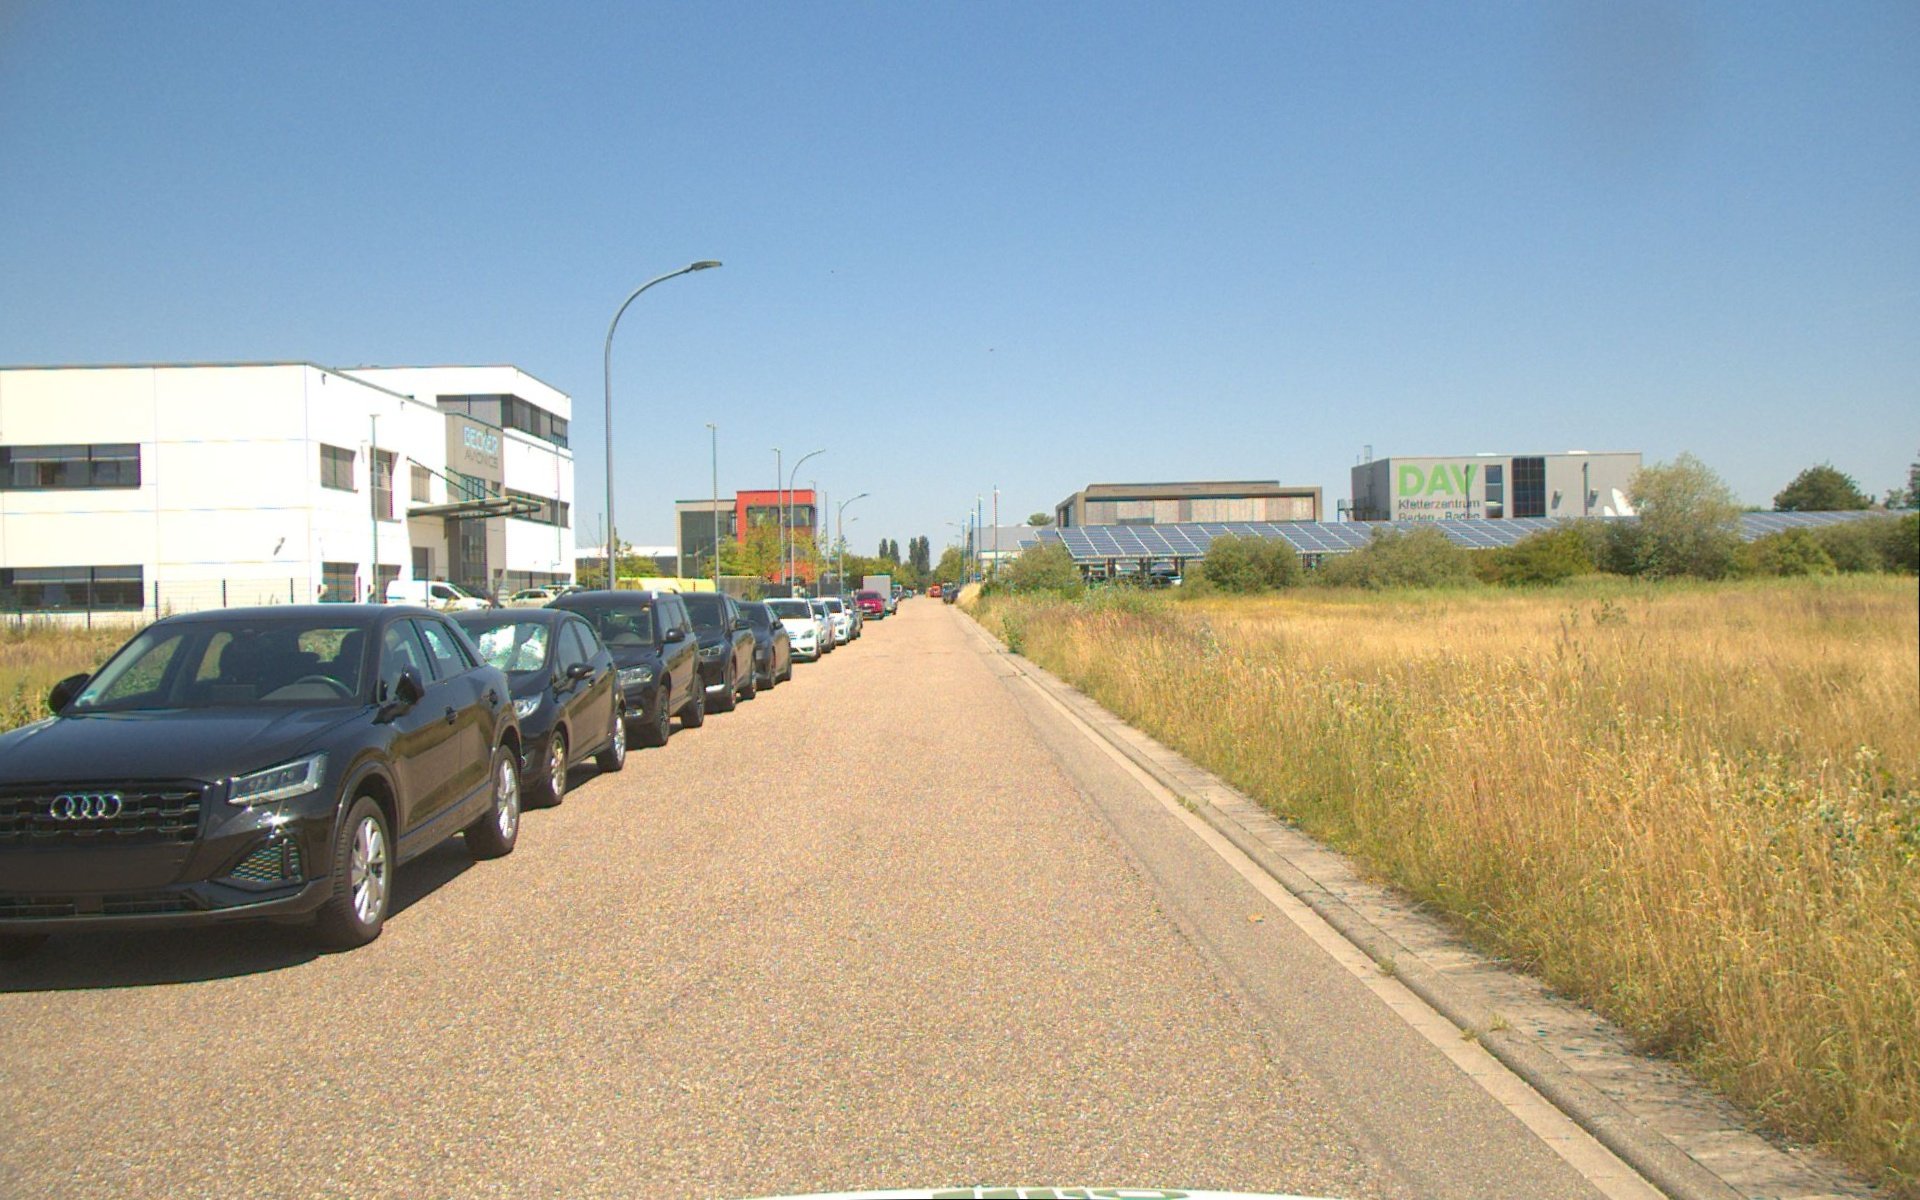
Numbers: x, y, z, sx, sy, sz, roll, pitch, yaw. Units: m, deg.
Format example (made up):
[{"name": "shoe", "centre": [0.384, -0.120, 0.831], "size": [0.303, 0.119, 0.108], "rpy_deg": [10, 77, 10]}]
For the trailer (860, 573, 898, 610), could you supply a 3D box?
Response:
[{"name": "trailer", "centre": [-5.002, -0.544, 102.430], "size": [2.156, 2.175, 4.284], "rpy_deg": [-2, 0, -1]}]

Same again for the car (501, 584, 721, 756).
[{"name": "car", "centre": [-3.855, 0.693, 18.919], "size": [1.643, 1.692, 4.235], "rpy_deg": [-2, 1, -1]}]

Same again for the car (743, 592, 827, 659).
[{"name": "car", "centre": [-4.389, 0.619, 42.024], "size": [1.750, 1.547, 3.982], "rpy_deg": [-2, 1, -1]}]

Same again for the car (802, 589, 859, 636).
[{"name": "car", "centre": [-4.580, 0.407, 58.959], "size": [1.750, 1.547, 3.982], "rpy_deg": [-2, 1, -1]}]

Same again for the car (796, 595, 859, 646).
[{"name": "car", "centre": [-4.259, 0.635, 53.789], "size": [1.750, 1.547, 3.982], "rpy_deg": [-2, 1, -1]}]

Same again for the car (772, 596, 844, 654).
[{"name": "car", "centre": [-4.369, 0.699, 48.131], "size": [1.750, 1.547, 3.982], "rpy_deg": [-2, 1, -1]}]

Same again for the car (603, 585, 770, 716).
[{"name": "car", "centre": [-3.912, 0.649, 24.378], "size": [1.733, 1.692, 4.551], "rpy_deg": [-2, 1, -1]}]

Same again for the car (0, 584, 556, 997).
[{"name": "car", "centre": [-3.519, 0.744, 8.652], "size": [1.888, 1.594, 4.188], "rpy_deg": [-2, 1, -2]}]

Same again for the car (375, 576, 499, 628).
[{"name": "car", "centre": [-21.673, 0.087, 68.625], "size": [4.436, 1.977, 2.031], "rpy_deg": [-2, 0, -1]}]

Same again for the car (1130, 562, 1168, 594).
[{"name": "car", "centre": [12.604, -1.451, 110.682], "size": [1.953, 2.049, 3.999], "rpy_deg": [-2, 0, -1]}]

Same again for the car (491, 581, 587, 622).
[{"name": "car", "centre": [-21.904, 0.082, 86.128], "size": [4.436, 1.977, 2.031], "rpy_deg": [-2, 0, -1]}]

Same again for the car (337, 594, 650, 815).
[{"name": "car", "centre": [-3.719, 0.744, 13.843], "size": [1.558, 1.518, 3.832], "rpy_deg": [-2, 1, -1]}]

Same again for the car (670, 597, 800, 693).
[{"name": "car", "centre": [-4.017, 0.753, 30.209], "size": [1.733, 1.511, 5.013], "rpy_deg": [-2, 1, -1]}]

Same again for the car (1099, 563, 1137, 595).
[{"name": "car", "centre": [10.531, -1.397, 110.470], "size": [1.953, 2.049, 3.999], "rpy_deg": [-2, 0, -1]}]

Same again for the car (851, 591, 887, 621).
[{"name": "car", "centre": [-4.955, 0.294, 90.521], "size": [1.750, 1.547, 3.981], "rpy_deg": [-2, 0, -1]}]

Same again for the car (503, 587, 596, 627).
[{"name": "car", "centre": [-21.998, 0.364, 88.756], "size": [4.436, 1.977, 2.031], "rpy_deg": [-2, 0, -1]}]

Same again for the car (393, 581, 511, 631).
[{"name": "car", "centre": [-21.901, 0.251, 71.413], "size": [4.436, 1.977, 2.031], "rpy_deg": [-2, 0, -1]}]
